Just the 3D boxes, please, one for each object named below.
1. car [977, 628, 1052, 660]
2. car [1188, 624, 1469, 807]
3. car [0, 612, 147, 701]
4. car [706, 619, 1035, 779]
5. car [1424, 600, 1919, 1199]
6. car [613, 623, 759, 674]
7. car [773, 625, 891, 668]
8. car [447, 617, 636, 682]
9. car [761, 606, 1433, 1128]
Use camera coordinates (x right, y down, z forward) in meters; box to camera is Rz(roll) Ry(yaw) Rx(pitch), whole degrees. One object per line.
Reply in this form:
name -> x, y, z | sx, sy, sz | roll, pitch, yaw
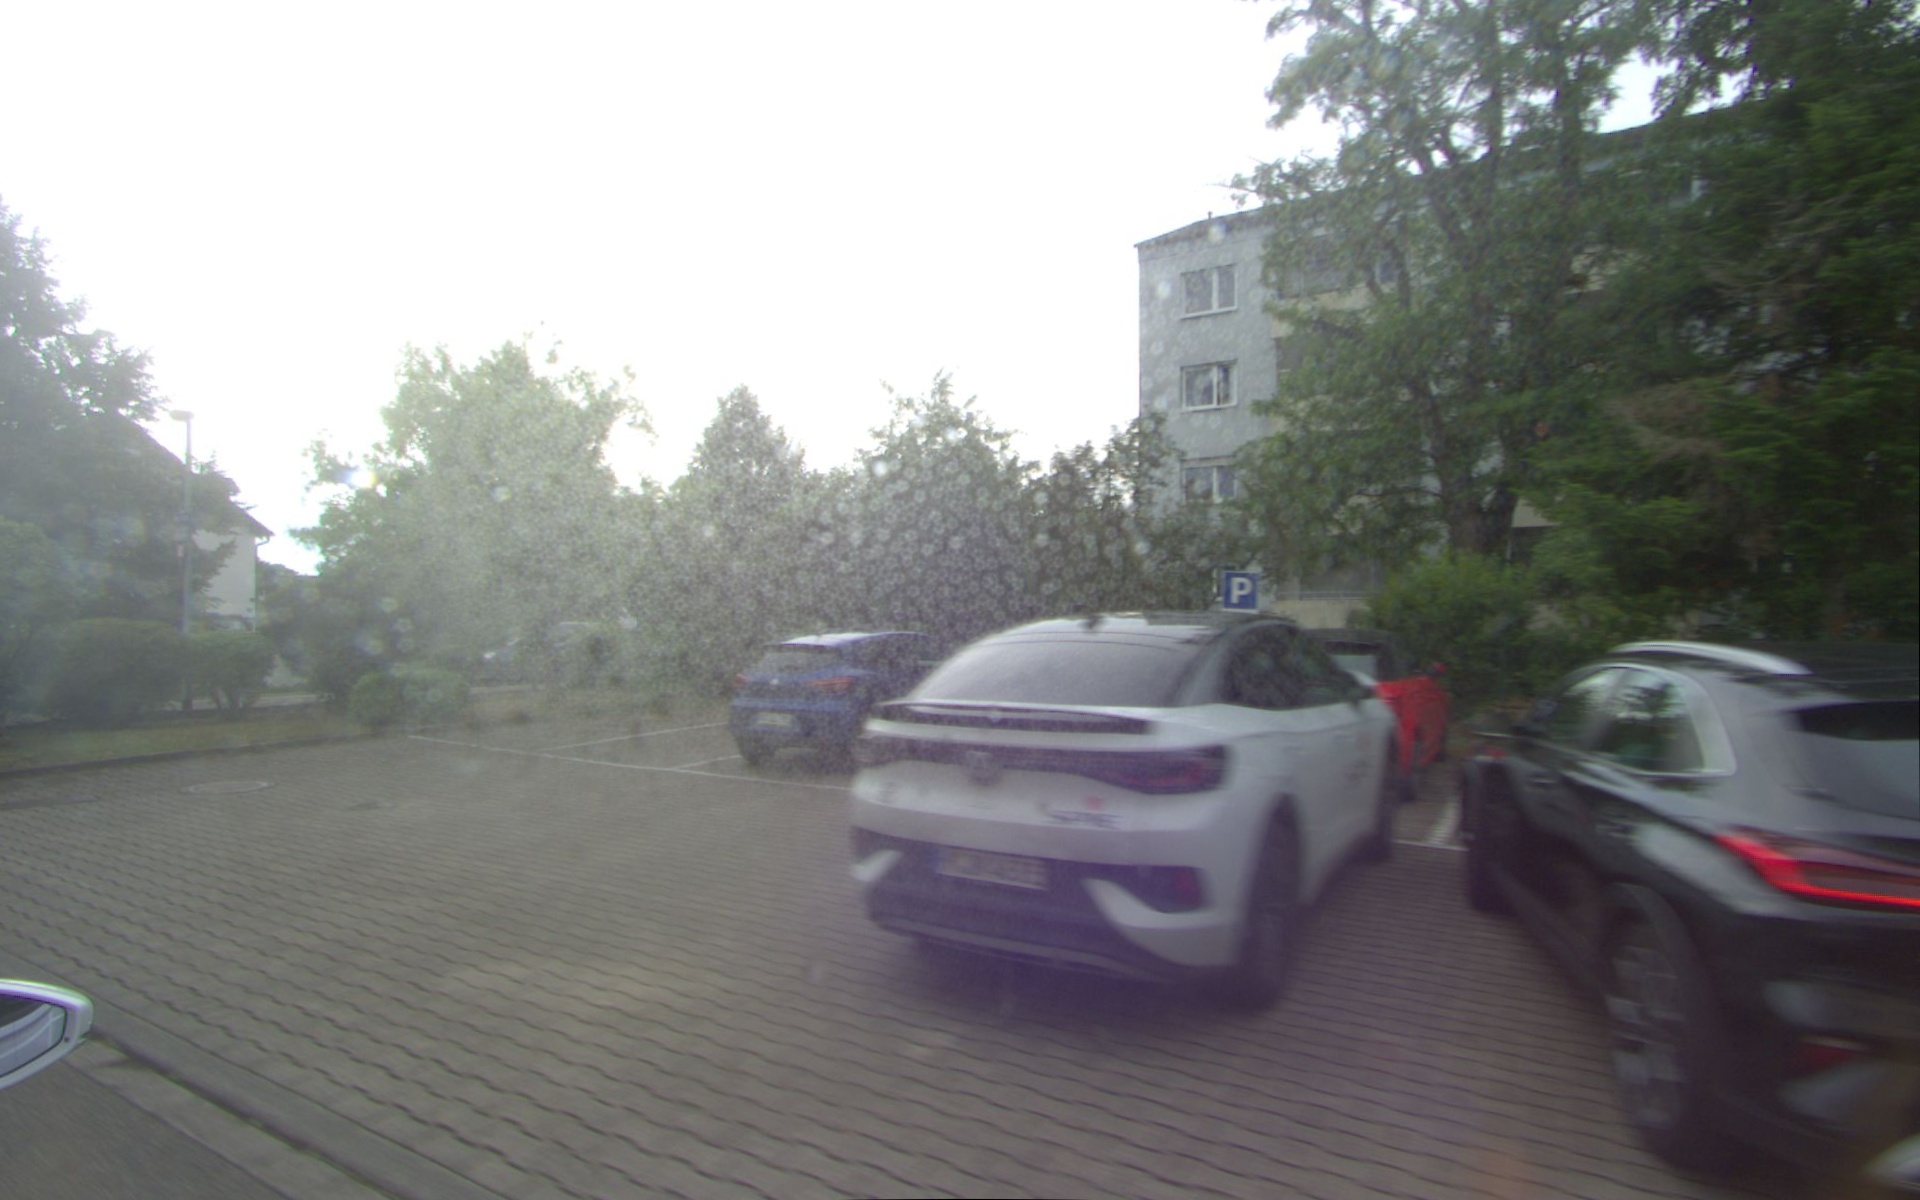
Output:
car -> 2.632, 2.090, 47.528 | 1.734, 1.443, 3.976 | -3, -3, 35
car -> 3.839, 0.958, 9.986 | 1.942, 1.398, 3.892 | 0, -1, 31
car -> -17.315, 1.013, 17.803 | 1.725, 1.550, 4.169 | -3, -3, 36
car -> -0.872, 1.016, 11.902 | 1.998, 1.530, 3.892 | 0, -1, 31
car -> 3.113, 0.806, 3.904 | 1.965, 1.573, 3.991 | 0, 1, 19
car -> -8.526, 1.501, 31.451 | 1.741, 1.497, 4.278 | -3, -3, 36
car -> -4.629, 1.687, 36.786 | 1.759, 1.446, 4.450 | -3, -3, 36
car -> -11.227, 1.316, 27.165 | 1.739, 1.613, 4.528 | -3, -3, 33
car -> 1.214, 0.878, 5.547 | 1.960, 1.609, 4.528 | 0, -1, 33
